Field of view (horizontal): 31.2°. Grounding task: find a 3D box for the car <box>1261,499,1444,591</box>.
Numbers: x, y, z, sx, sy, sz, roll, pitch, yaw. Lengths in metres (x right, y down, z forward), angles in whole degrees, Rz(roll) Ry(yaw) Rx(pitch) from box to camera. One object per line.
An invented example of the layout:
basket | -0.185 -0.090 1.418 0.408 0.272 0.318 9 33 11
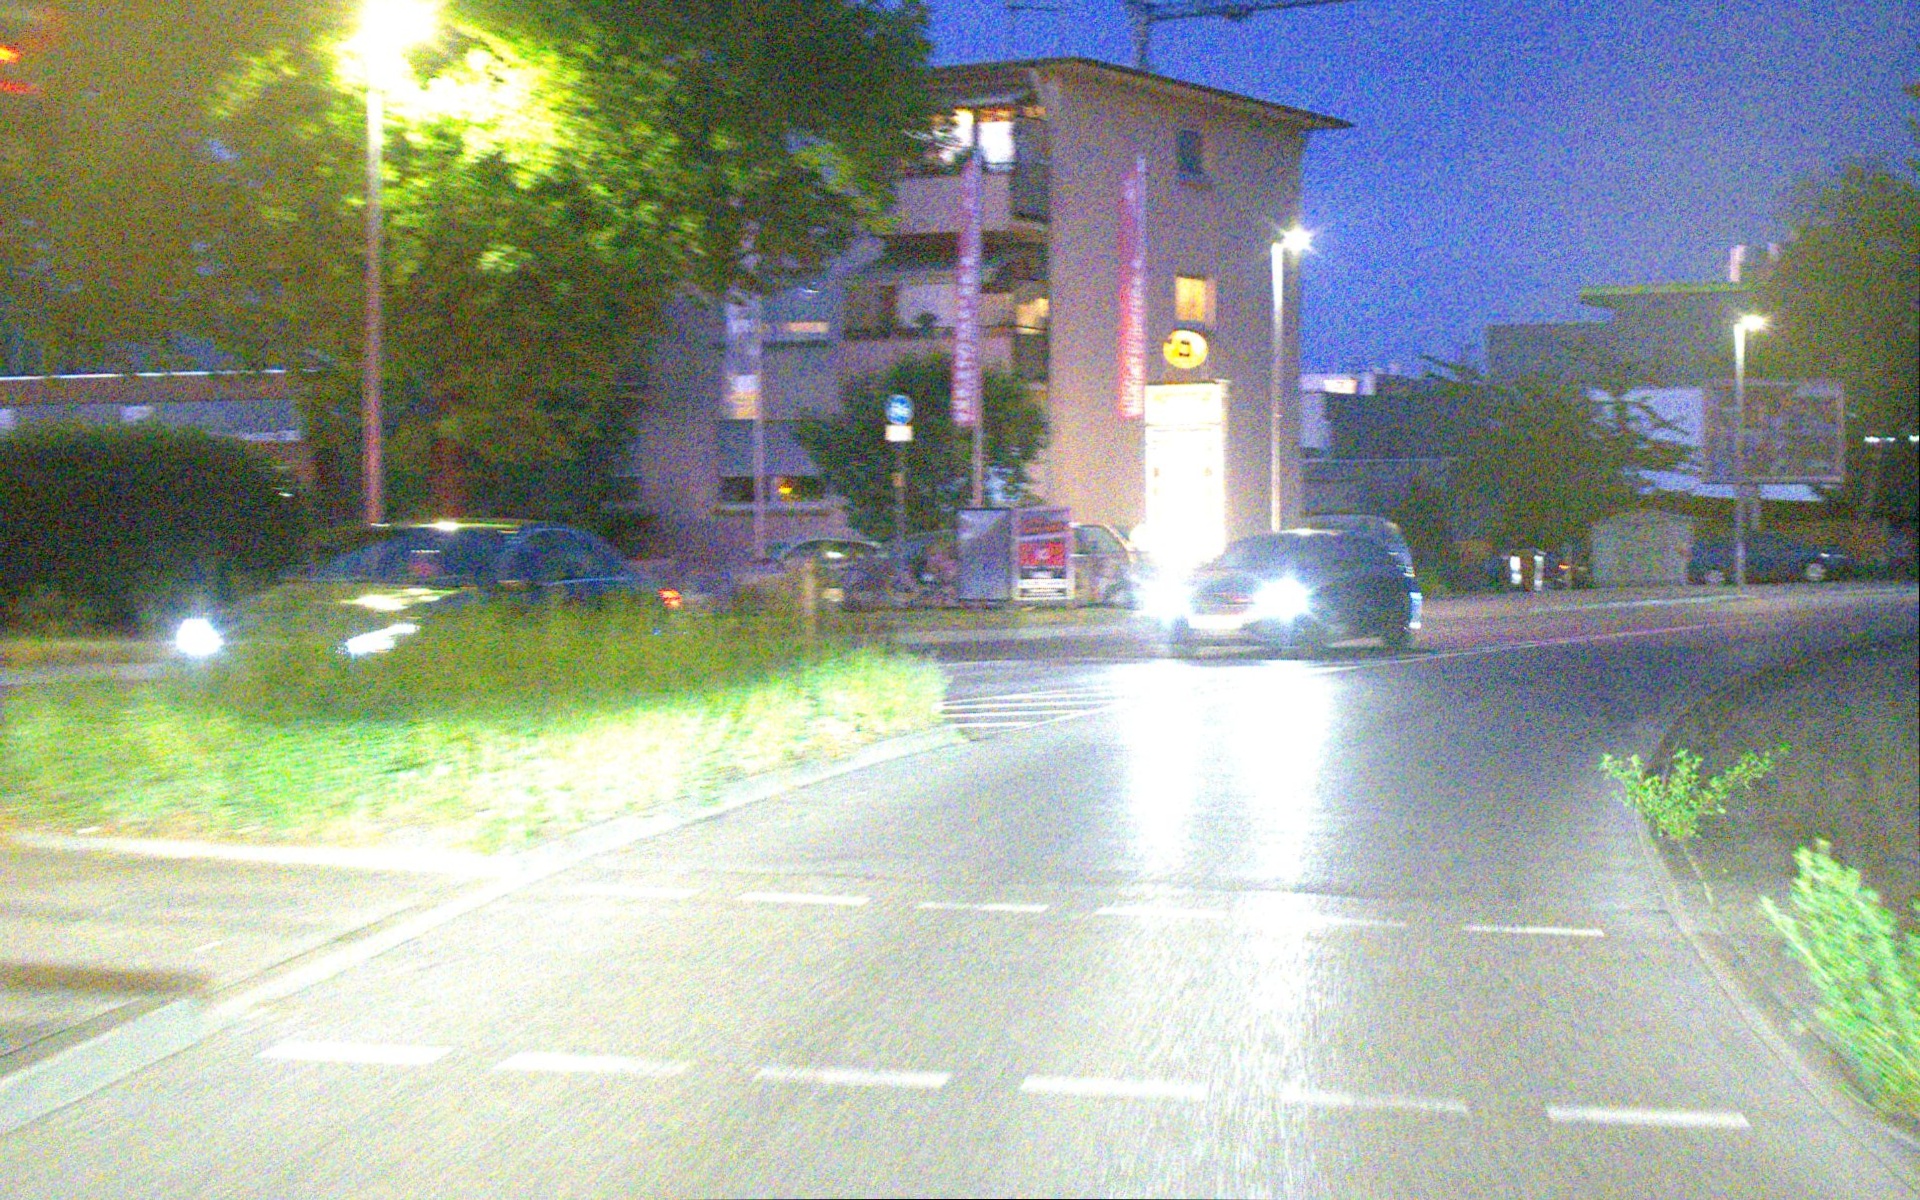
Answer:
car | 7.212 -1.021 62.843 1.758 1.602 4.445 2 2 29

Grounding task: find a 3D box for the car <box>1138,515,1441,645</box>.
car | 3.865 -0.268 39.573 1.762 1.398 4.580 0 1 29

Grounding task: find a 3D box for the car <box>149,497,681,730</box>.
car | -3.644 0.042 23.906 1.761 1.440 4.523 1 1 18

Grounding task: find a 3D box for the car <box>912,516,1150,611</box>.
car | 1.131 -0.586 53.453 3.689 1.415 1.549 -1 2 -44

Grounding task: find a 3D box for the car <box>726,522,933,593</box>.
car | -2.137 -0.720 56.737 3.205 1.127 1.549 -1 2 -44

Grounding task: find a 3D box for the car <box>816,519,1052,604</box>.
car | -0.391 -0.635 54.884 3.689 1.307 1.549 -1 2 -43

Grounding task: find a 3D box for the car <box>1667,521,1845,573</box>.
car | 21.086 -1.396 91.097 4.354 1.355 1.640 0 1 26

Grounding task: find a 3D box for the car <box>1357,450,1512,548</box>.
car | 10.490 -2.265 75.821 1.997 2.006 3.994 3 4 29

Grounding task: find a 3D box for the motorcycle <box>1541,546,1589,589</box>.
motorcycle | 16.467 -0.888 93.520 0.986 1.140 1.847 1 1 19
